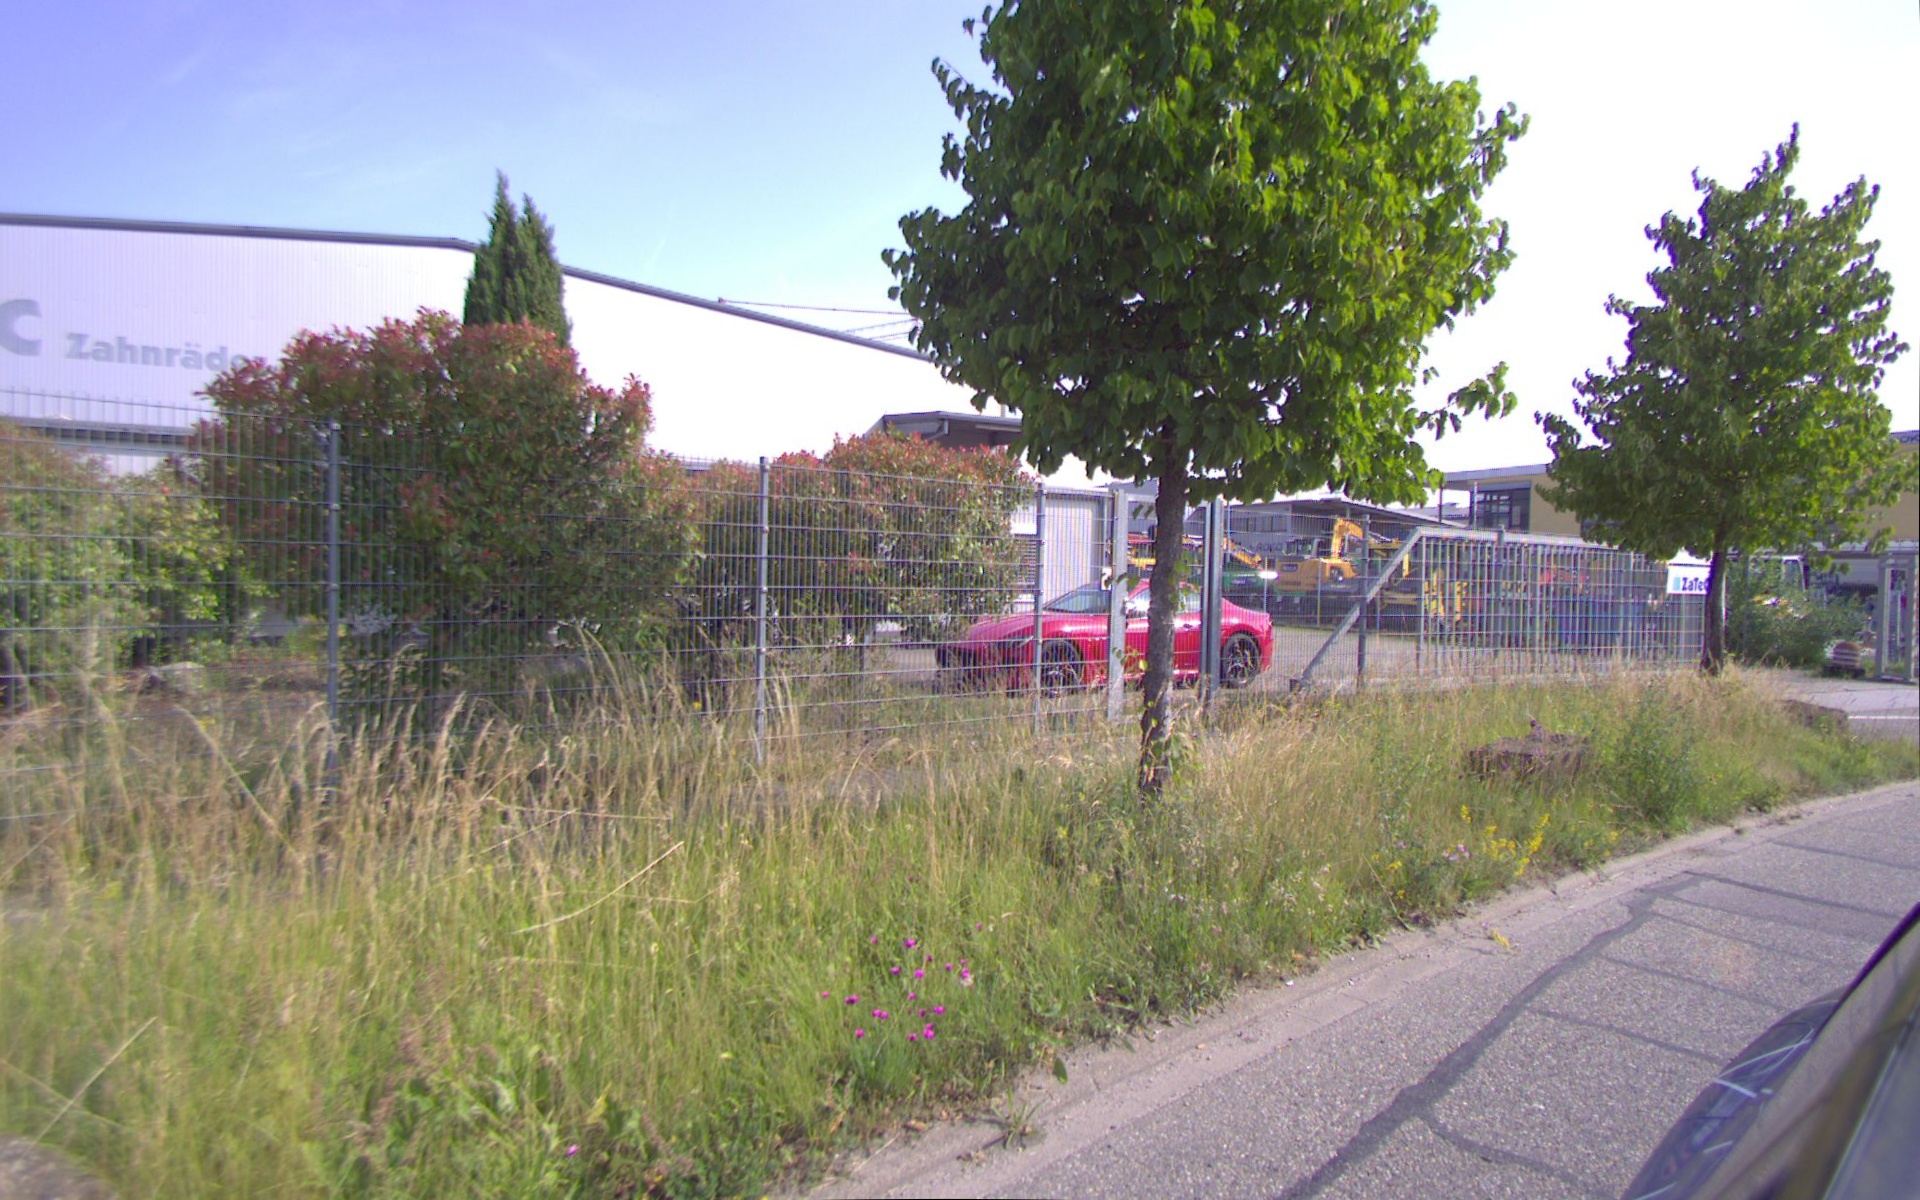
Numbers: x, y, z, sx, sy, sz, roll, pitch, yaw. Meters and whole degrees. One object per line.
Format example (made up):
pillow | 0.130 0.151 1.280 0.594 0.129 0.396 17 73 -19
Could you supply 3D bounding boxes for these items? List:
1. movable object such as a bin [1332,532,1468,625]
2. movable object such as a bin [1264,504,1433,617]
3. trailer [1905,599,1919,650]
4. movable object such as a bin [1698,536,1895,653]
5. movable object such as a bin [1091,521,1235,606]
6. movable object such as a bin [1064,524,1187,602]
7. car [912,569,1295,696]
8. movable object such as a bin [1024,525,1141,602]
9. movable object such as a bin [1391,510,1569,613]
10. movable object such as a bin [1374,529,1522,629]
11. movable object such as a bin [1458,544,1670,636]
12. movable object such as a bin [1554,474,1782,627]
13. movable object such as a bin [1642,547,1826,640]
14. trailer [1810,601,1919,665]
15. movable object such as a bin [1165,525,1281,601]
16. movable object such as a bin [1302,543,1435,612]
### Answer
movable object such as a bin | 15.413 -0.743 35.454 4.283 3.069 2.003 0 2 -25
movable object such as a bin | 14.516 -1.429 37.796 5.600 3.921 2.698 0 2 -25
trailer | 25.907 0.636 25.334 4.206 1.259 1.954 0 2 -27
movable object such as a bin | 21.546 -0.173 26.052 5.053 2.786 1.896 0 2 -25
movable object such as a bin | 10.106 -1.785 50.105 7.058 3.977 2.477 0 2 -30
movable object such as a bin | 8.596 -1.915 52.503 6.020 3.827 2.463 0 2 -30
car | 1.897 0.329 12.952 4.677 1.374 1.889 0 2 -30
movable object such as a bin | 6.739 -1.988 55.320 6.020 3.977 2.463 0 2 -30
movable object such as a bin | 21.657 -1.514 42.121 7.060 3.977 2.933 1 2 -27
movable object such as a bin | 15.976 -0.686 33.130 4.399 3.069 2.003 0 2 -25
movable object such as a bin | 17.873 -0.327 29.991 5.228 2.522 2.938 0 2 -25
movable object such as a bin | 24.787 -1.612 35.399 7.516 4.866 3.332 1 1 -27
movable object such as a bin | 21.965 -0.200 28.714 4.664 2.489 2.004 0 2 -22
trailer | 21.831 0.702 23.030 4.697 1.259 2.137 0 2 -27
movable object such as a bin | 14.446 -2.039 55.538 5.903 3.977 2.730 0 2 -30
movable object such as a bin | 17.464 -0.937 43.235 5.574 2.803 2.064 1 2 -28
